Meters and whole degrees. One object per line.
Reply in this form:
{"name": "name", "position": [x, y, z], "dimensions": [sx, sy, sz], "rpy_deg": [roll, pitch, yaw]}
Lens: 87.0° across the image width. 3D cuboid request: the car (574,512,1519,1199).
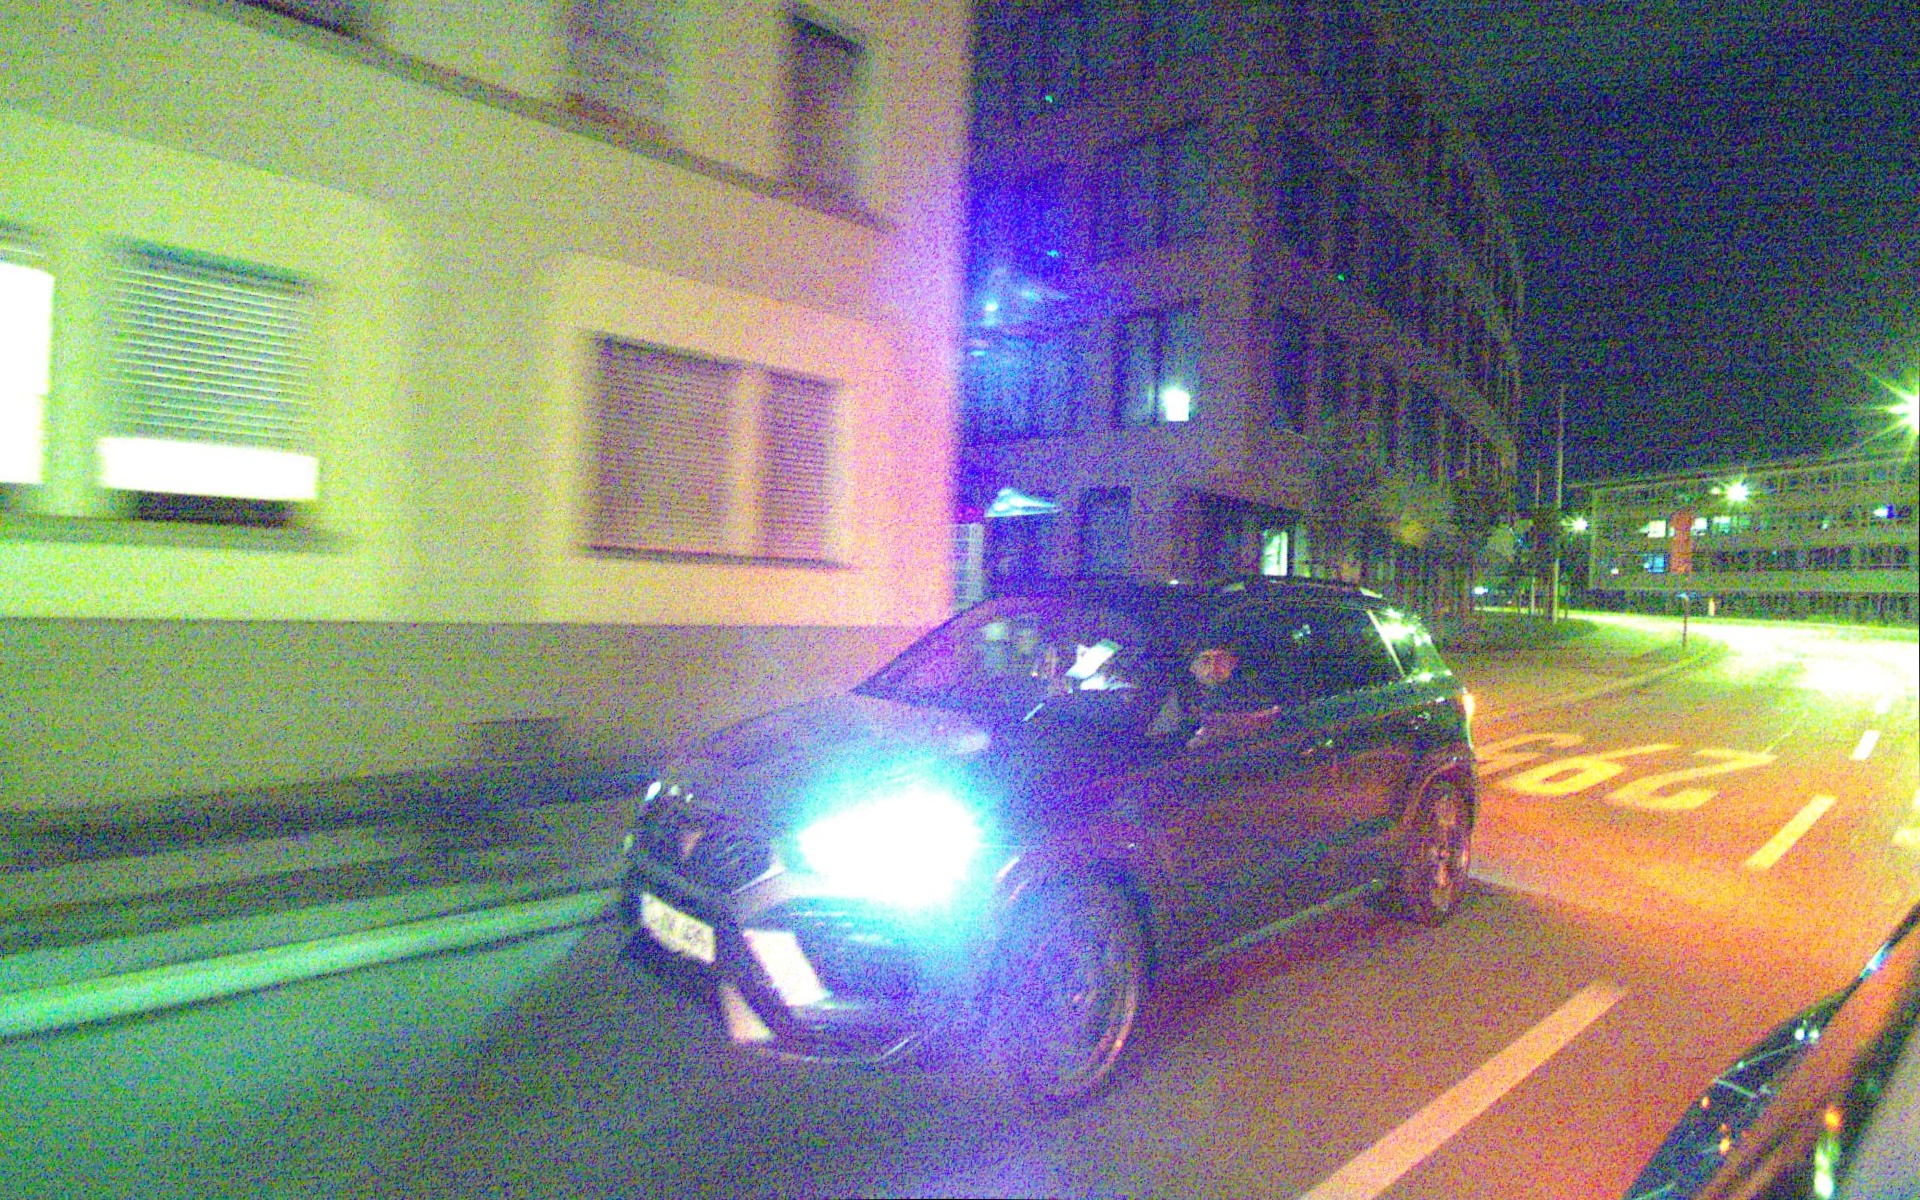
{"name": "car", "position": [0.733, 0.580, 4.332], "dimensions": [4.157, 1.630, 1.672], "rpy_deg": [-1, 1, -42]}
